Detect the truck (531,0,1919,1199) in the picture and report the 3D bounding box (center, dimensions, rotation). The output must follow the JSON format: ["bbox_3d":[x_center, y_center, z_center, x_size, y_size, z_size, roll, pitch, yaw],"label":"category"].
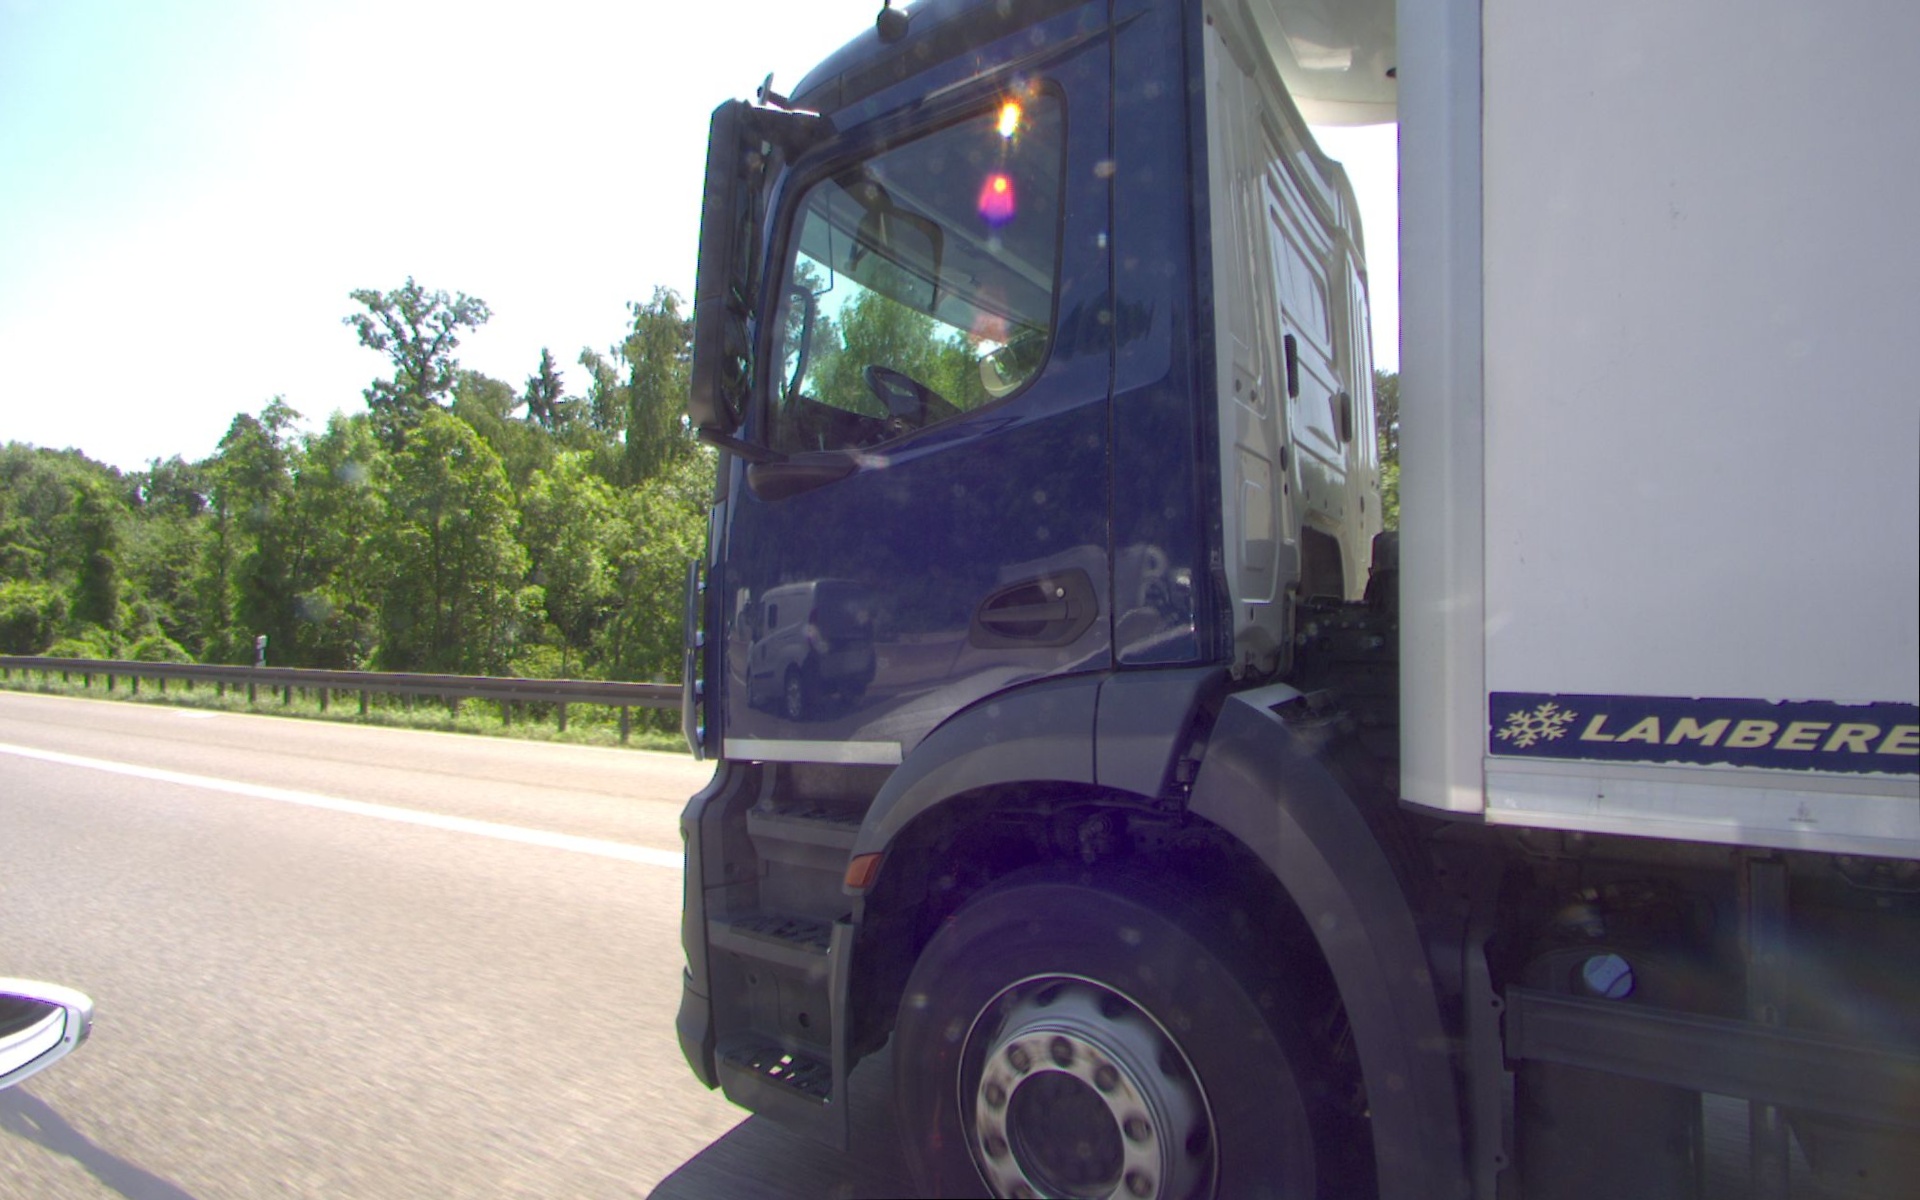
[{"bbox_3d":[1.324,0.066,2.503,4.047,2.979,2.550,-2,-1,33],"label":"truck"}]

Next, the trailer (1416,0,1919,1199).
[{"bbox_3d":[4.605,-0.052,0.480,7.767,2.936,2.552,-1,-1,31],"label":"trailer"}]
